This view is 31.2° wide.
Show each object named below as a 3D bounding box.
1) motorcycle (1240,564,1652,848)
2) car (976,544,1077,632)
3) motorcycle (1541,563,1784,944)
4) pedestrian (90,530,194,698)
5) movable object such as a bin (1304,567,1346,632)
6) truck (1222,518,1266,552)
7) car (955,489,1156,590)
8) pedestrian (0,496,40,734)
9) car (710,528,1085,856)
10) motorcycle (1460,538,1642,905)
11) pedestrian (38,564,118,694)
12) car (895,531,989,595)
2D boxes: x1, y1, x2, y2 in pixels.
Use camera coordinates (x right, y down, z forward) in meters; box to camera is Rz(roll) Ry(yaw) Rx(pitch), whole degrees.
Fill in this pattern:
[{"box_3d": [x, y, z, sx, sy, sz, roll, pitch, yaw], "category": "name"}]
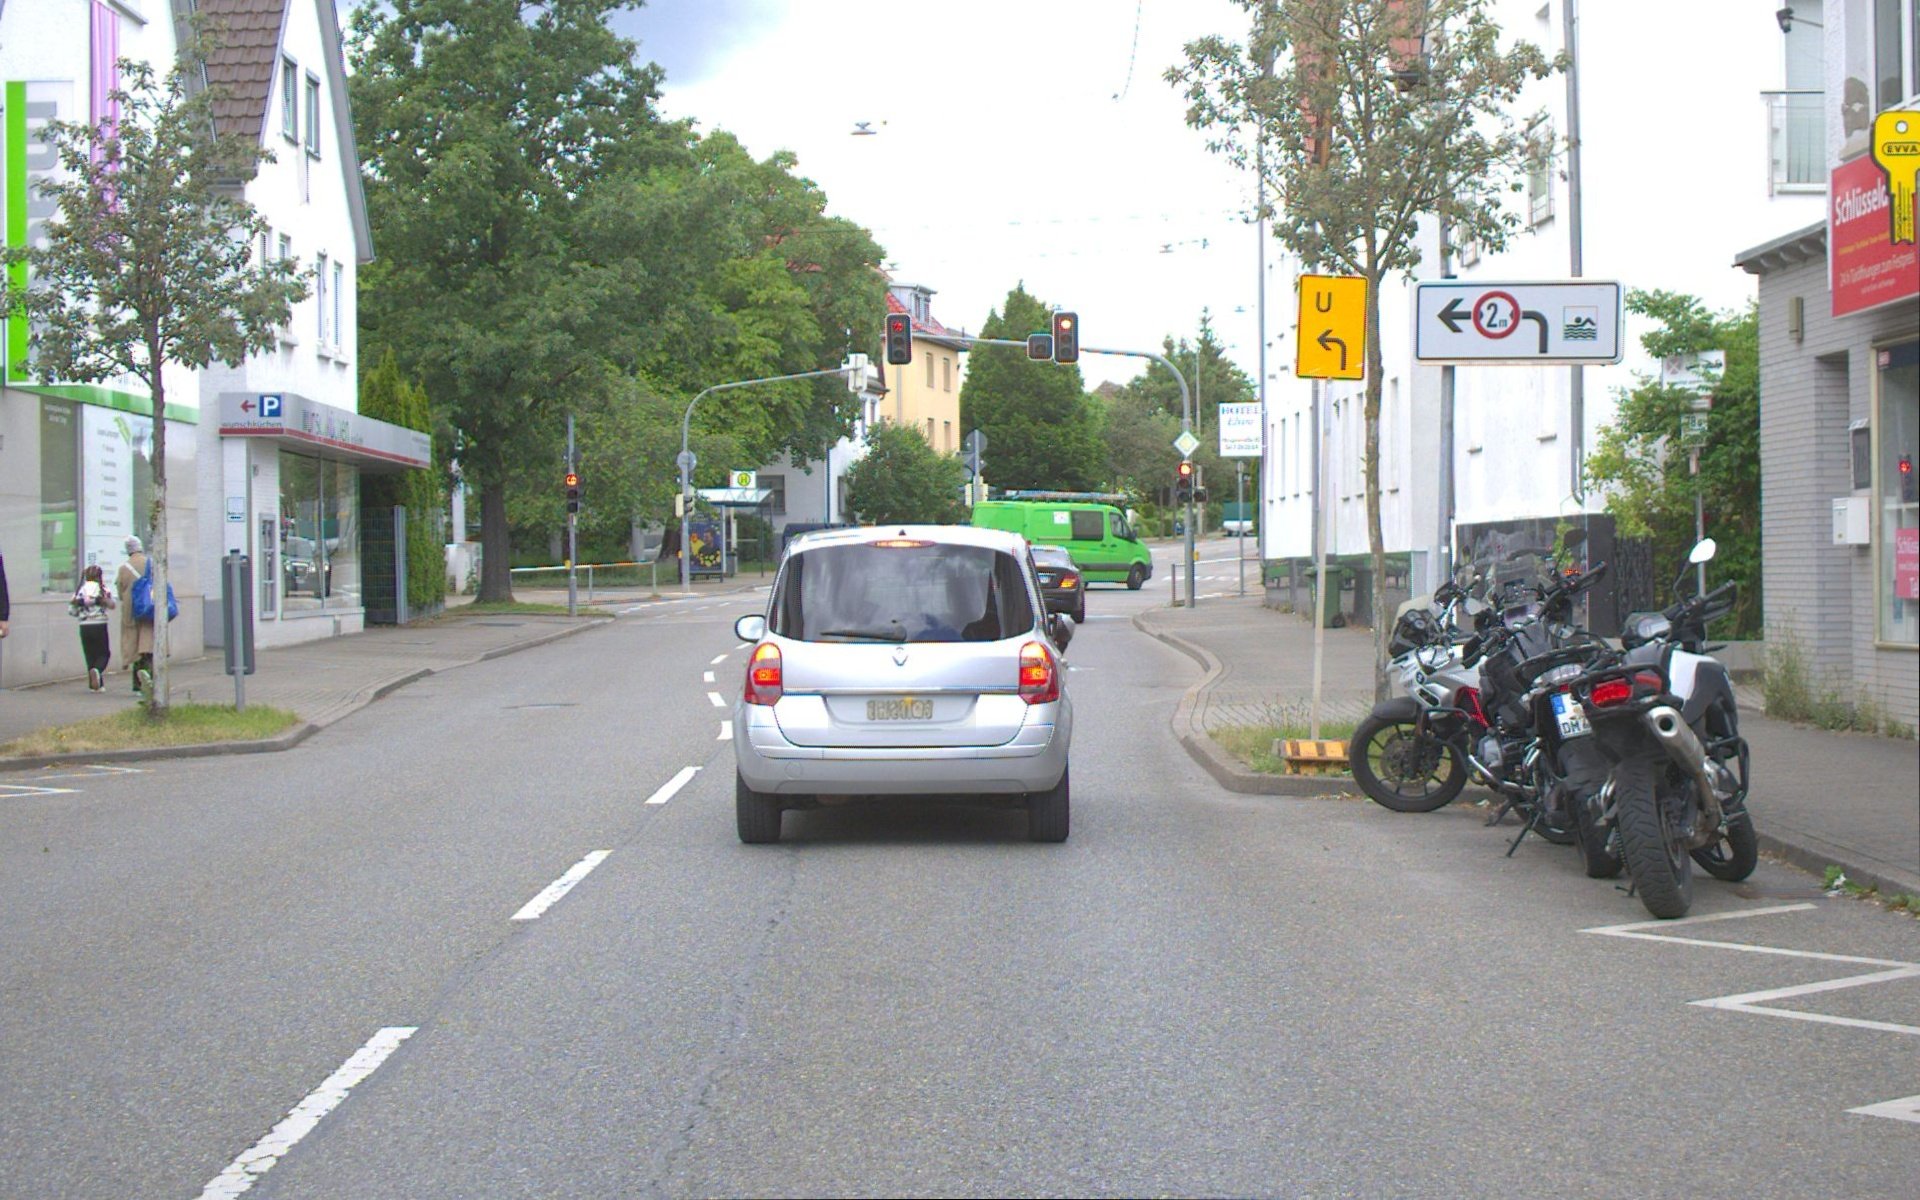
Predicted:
[{"box_3d": [2.511, 0.514, 18.048, 0.773, 1.377, 2.243, 0, 1, -36], "category": "motorcycle"}, {"box_3d": [1.206, -0.231, 62.624, 1.755, 1.525, 3.797, 1, 1, 1], "category": "car"}, {"box_3d": [2.959, 0.575, 14.295, 0.648, 1.435, 2.467, 1, 1, 19], "category": "motorcycle"}, {"box_3d": [-8.127, 0.132, 34.187, 0.751, 1.611, 0.793, 3, 0, 1], "category": "pedestrian"}, {"box_3d": [5.451, -0.011, 51.361, 0.540, 0.938, 0.487, -2, 0, 2], "category": "movable object such as a bin"}, {"box_3d": [17.822, -4.072, 215.209, 2.102, 2.007, 5.745, 1, 1, 11], "category": "truck"}, {"box_3d": [2.516, -1.534, 88.694, 2.064, 2.503, 5.582, 1, 1, 41], "category": "car"}, {"box_3d": [-7.758, 0.095, 26.848, 0.751, 1.843, 1.019, 4, 0, 1], "category": "pedestrian"}, {"box_3d": [-0.261, 0.416, 18.287, 1.755, 1.525, 4.000, 1, 1, 1], "category": "car"}, {"box_3d": [2.654, 0.494, 15.645, 0.671, 1.519, 2.597, 1, 1, 7], "category": "motorcycle"}, {"box_3d": [-8.861, 0.287, 34.562, 0.599, 1.275, 0.655, 2, 0, 1], "category": "pedestrian"}, {"box_3d": [-0.514, -1.129, 103.479, 1.927, 1.768, 3.998, -4, 0, 12], "category": "car"}]
